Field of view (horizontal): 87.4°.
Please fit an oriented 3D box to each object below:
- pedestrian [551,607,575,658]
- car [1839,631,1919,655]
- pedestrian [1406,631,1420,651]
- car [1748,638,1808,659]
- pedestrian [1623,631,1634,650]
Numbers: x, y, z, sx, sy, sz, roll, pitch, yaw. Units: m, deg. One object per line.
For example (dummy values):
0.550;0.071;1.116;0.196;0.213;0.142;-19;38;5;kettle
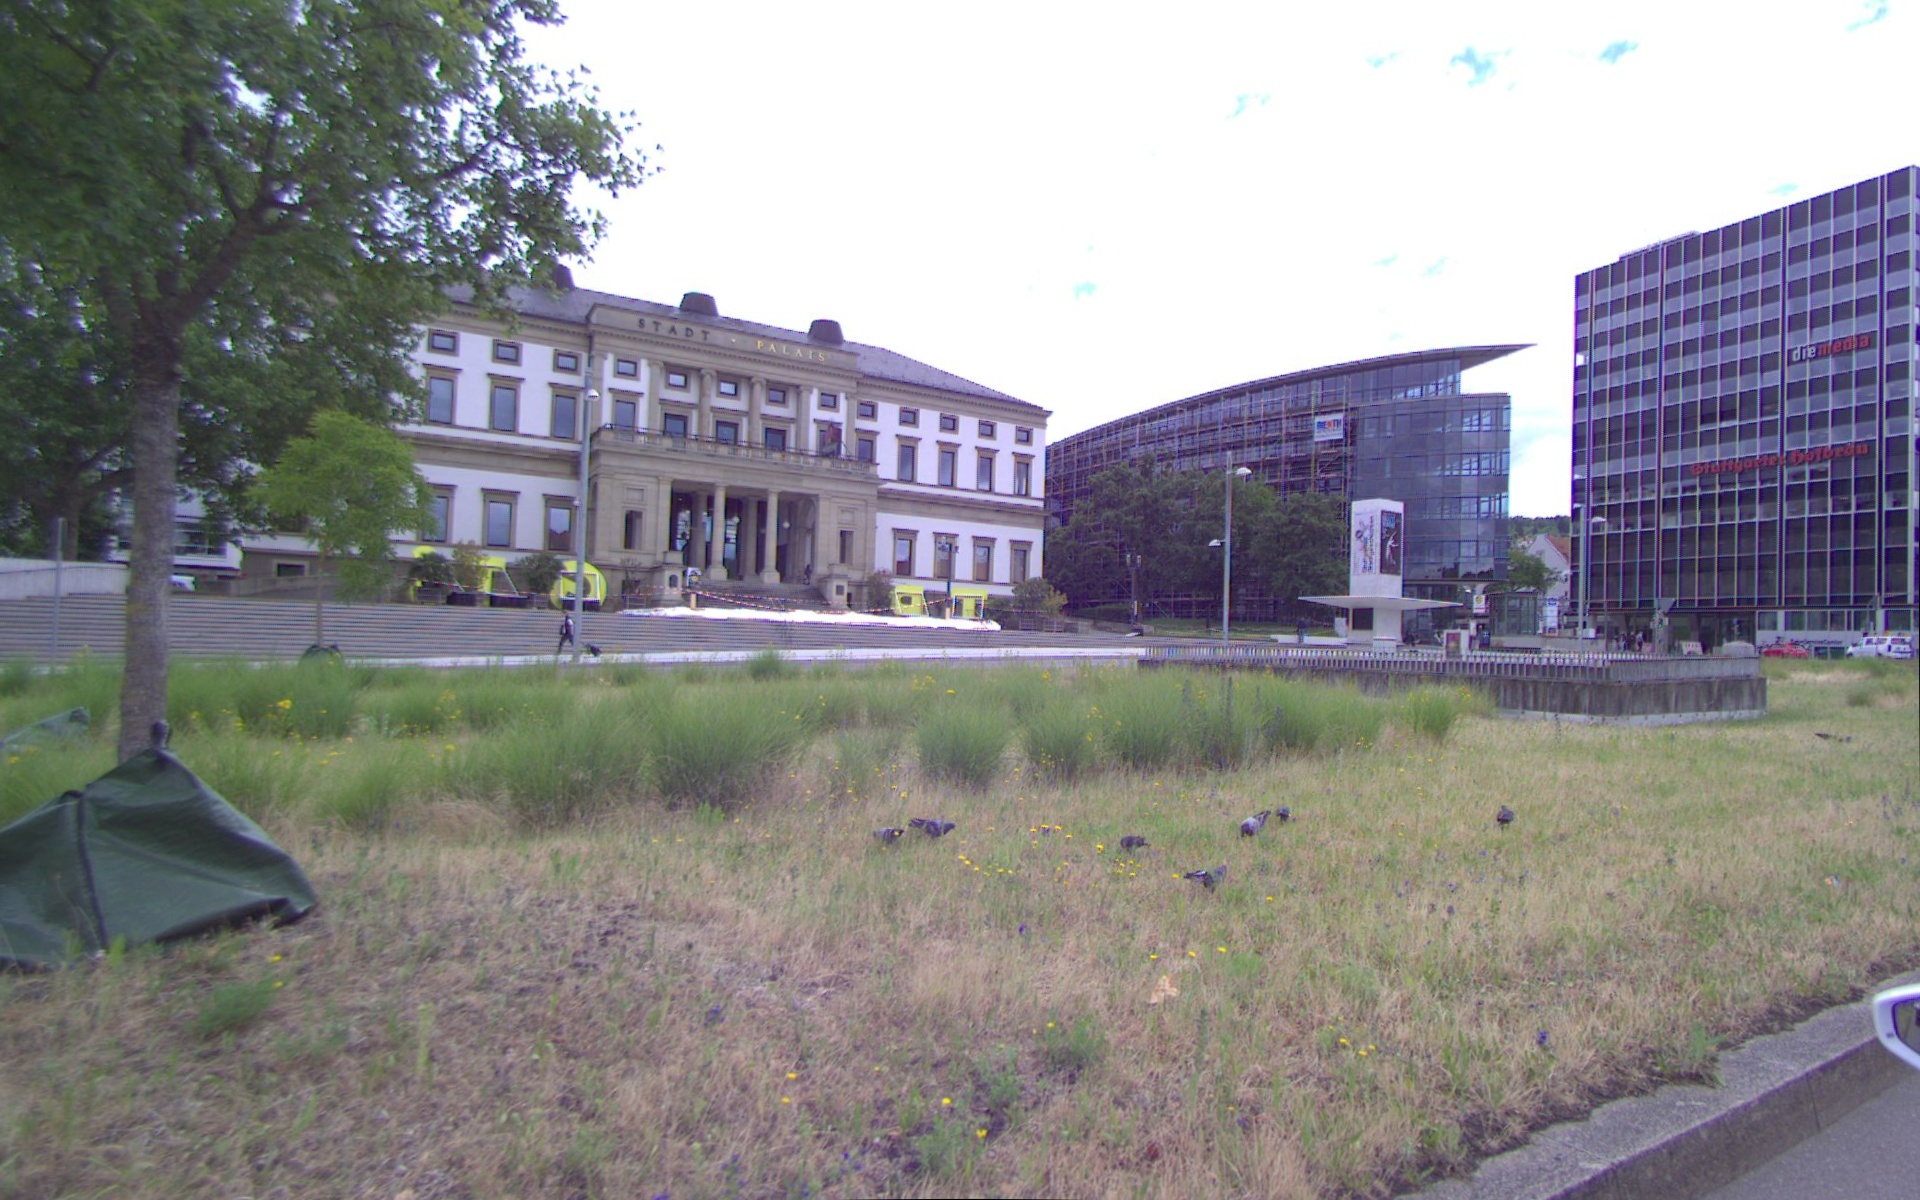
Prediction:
-13.413;1.098;33.947;0.643;1.671;0.521;2;0;-31;pedestrian
66.070;3.084;72.291;2.206;1.522;4.614;1;0;11;car
25.628;2.334;56.845;0.553;1.095;0.473;2;0;-28;pedestrian
67.363;3.996;82.755;1.690;1.522;3.981;1;-1;0;car
56.365;3.418;84.674;0.611;1.614;0.591;2;0;20;pedestrian
